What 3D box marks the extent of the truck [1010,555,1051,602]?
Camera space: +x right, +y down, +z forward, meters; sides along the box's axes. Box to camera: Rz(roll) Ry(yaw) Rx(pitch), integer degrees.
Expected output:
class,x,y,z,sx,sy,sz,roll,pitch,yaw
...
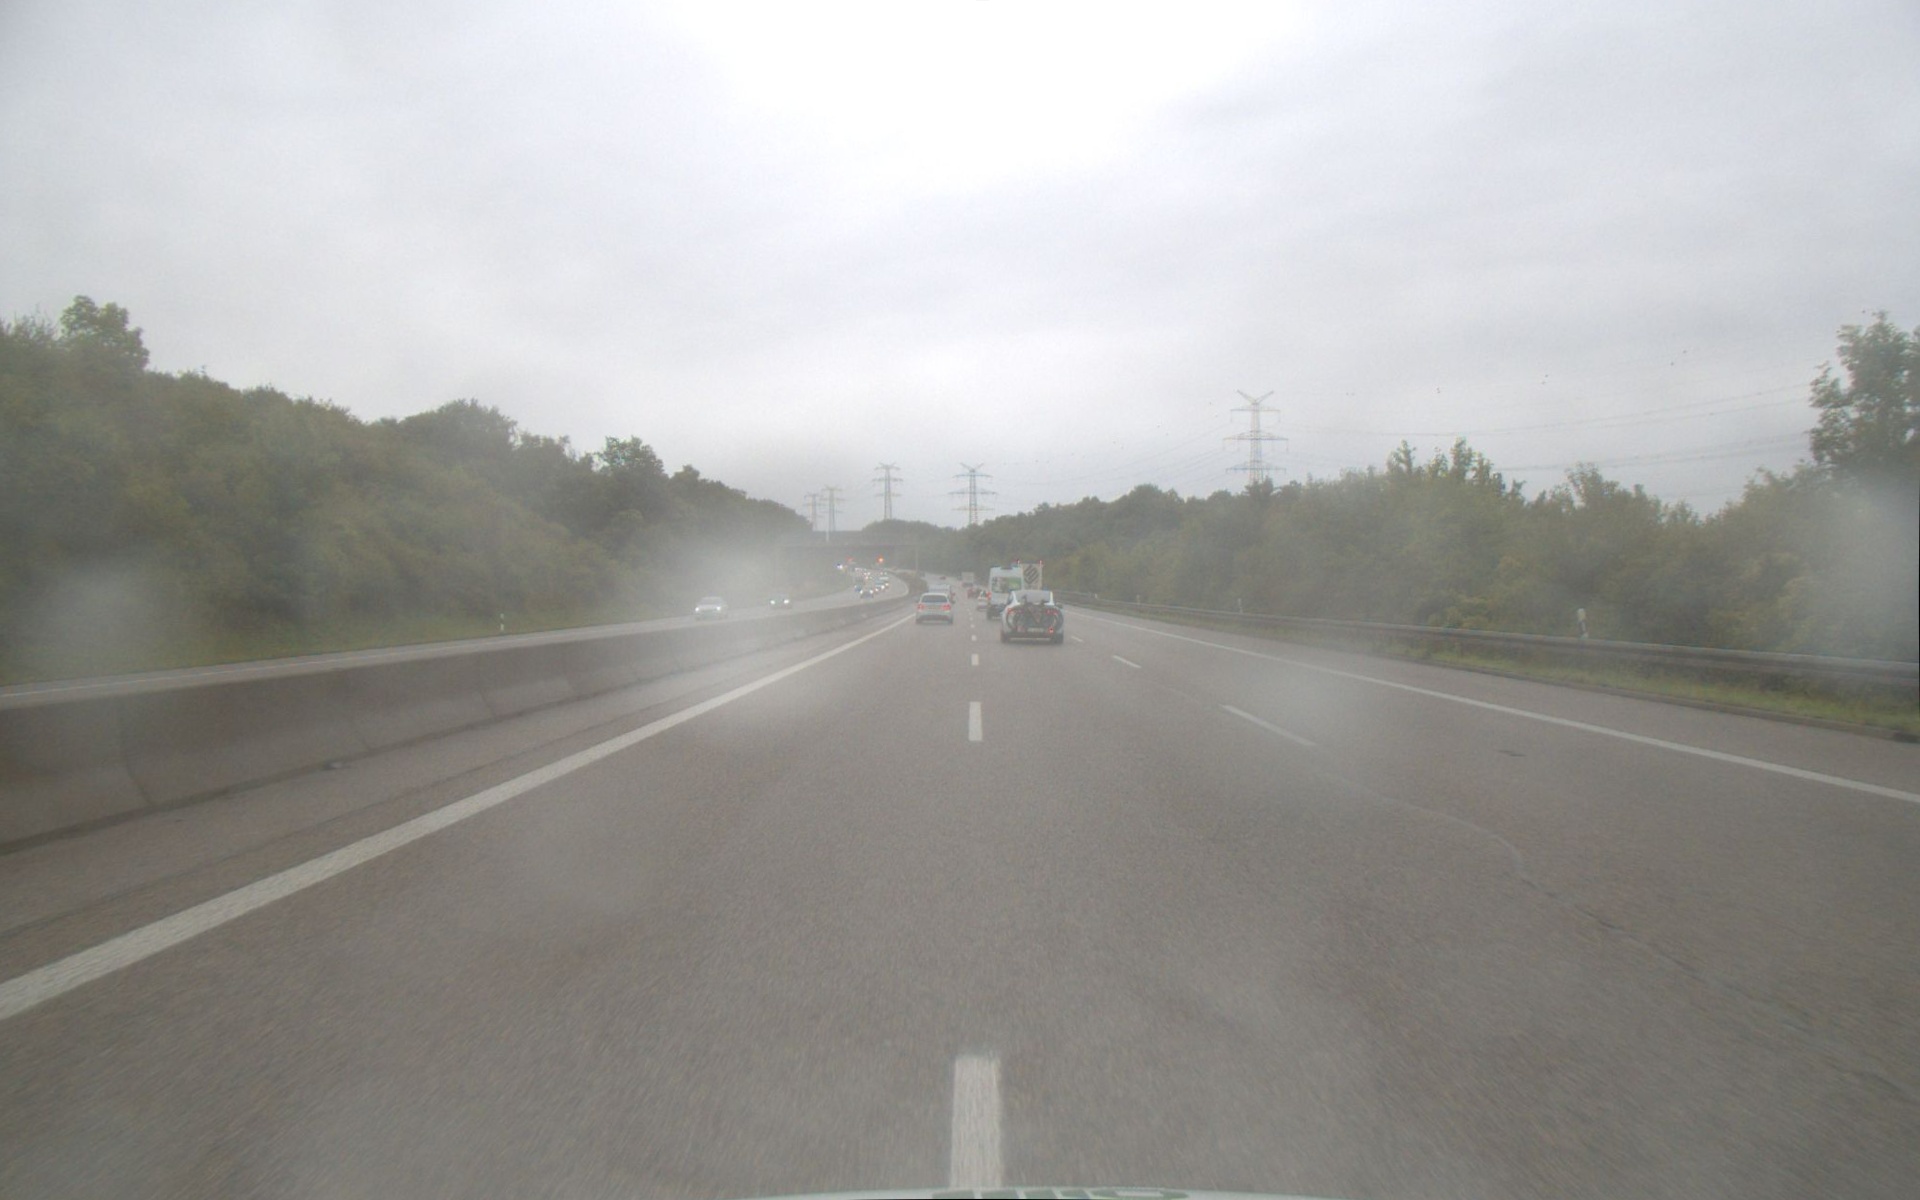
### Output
class,x,y,z,sx,sy,sz,roll,pitch,yaw
truck,6.729,-2.068,160.236,3.529,4.407,13.201,0,1,1

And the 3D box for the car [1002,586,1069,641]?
class,x,y,z,sx,sy,sz,roll,pitch,yaw
car,2.325,0.393,51.948,1.822,1.595,4.964,1,1,-1

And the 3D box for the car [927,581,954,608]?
class,x,y,z,sx,sy,sz,roll,pitch,yaw
car,-1.342,-0.354,114.386,1.808,1.803,3.999,1,-1,-1

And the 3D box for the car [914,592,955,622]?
class,x,y,z,sx,sy,sz,roll,pitch,yaw
car,-1.206,0.312,77.412,1.829,1.310,3.999,-1,0,-1

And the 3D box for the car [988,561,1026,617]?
class,x,y,z,sx,sy,sz,roll,pitch,yaw
car,2.504,-0.603,89.137,1.952,2.914,4.000,-1,0,1

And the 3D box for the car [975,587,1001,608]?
class,x,y,z,sx,sy,sz,roll,pitch,yaw
car,2.073,-0.208,122.173,1.819,1.447,4.000,0,1,0

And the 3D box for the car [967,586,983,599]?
class,x,y,z,sx,sy,sz,roll,pitch,yaw
car,1.878,-1.005,212.480,1.953,1.601,3.999,-1,0,-1

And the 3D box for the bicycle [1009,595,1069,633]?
class,x,y,z,sx,sy,sz,roll,pitch,yaw
bicycle,2.326,0.401,48.996,1.718,1.109,0.913,0,0,-1

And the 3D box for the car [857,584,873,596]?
class,x,y,z,sx,sy,sz,roll,pitch,yaw
car,-13.517,-1.447,235.985,1.953,1.717,4.916,-1,0,0

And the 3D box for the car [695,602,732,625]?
class,x,y,z,sx,sy,sz,roll,pitch,yaw
car,-16.417,0.885,110.351,1.761,1.475,4.628,-1,0,-1
